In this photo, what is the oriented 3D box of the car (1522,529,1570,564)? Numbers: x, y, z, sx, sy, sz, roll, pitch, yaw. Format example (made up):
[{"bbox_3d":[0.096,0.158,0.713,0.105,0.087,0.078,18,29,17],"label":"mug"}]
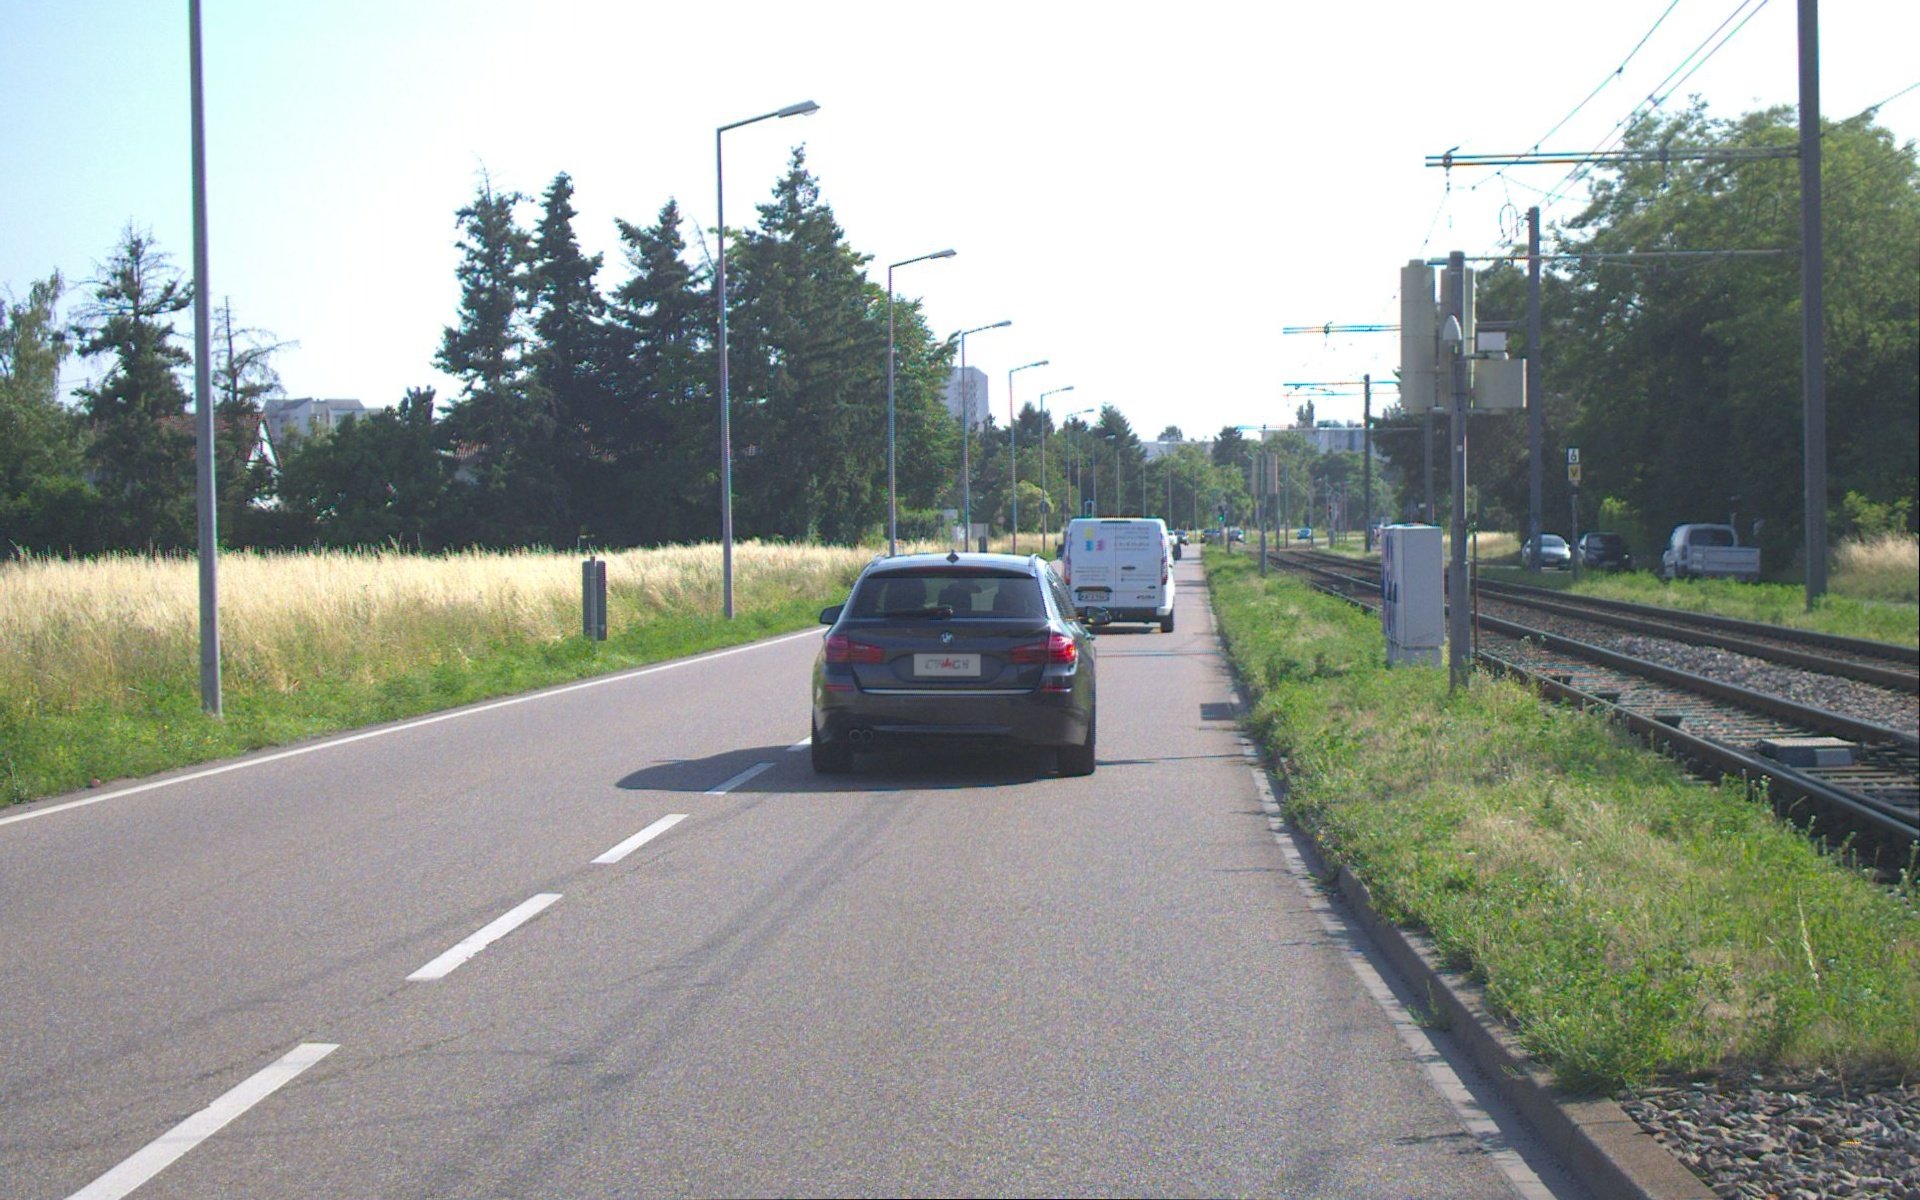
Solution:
[{"bbox_3d":[24.537,-2.248,144.111,1.621,1.394,3.489,1,0,4],"label":"car"}]

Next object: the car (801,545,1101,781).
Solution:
[{"bbox_3d":[0.026,0.356,23.883,1.869,1.447,4.744,0,1,2],"label":"car"}]

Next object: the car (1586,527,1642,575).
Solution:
[{"bbox_3d":[23.937,-1.787,125.918,1.735,1.674,3.543,1,0,7],"label":"car"}]

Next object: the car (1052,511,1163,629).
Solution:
[{"bbox_3d":[2.594,-0.573,60.665,1.857,1.981,5.108,0,2,2],"label":"car"}]

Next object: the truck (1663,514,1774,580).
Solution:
[{"bbox_3d":[21.600,-1.533,98.108,2.204,1.813,5.929,0,1,4],"label":"truck"}]
